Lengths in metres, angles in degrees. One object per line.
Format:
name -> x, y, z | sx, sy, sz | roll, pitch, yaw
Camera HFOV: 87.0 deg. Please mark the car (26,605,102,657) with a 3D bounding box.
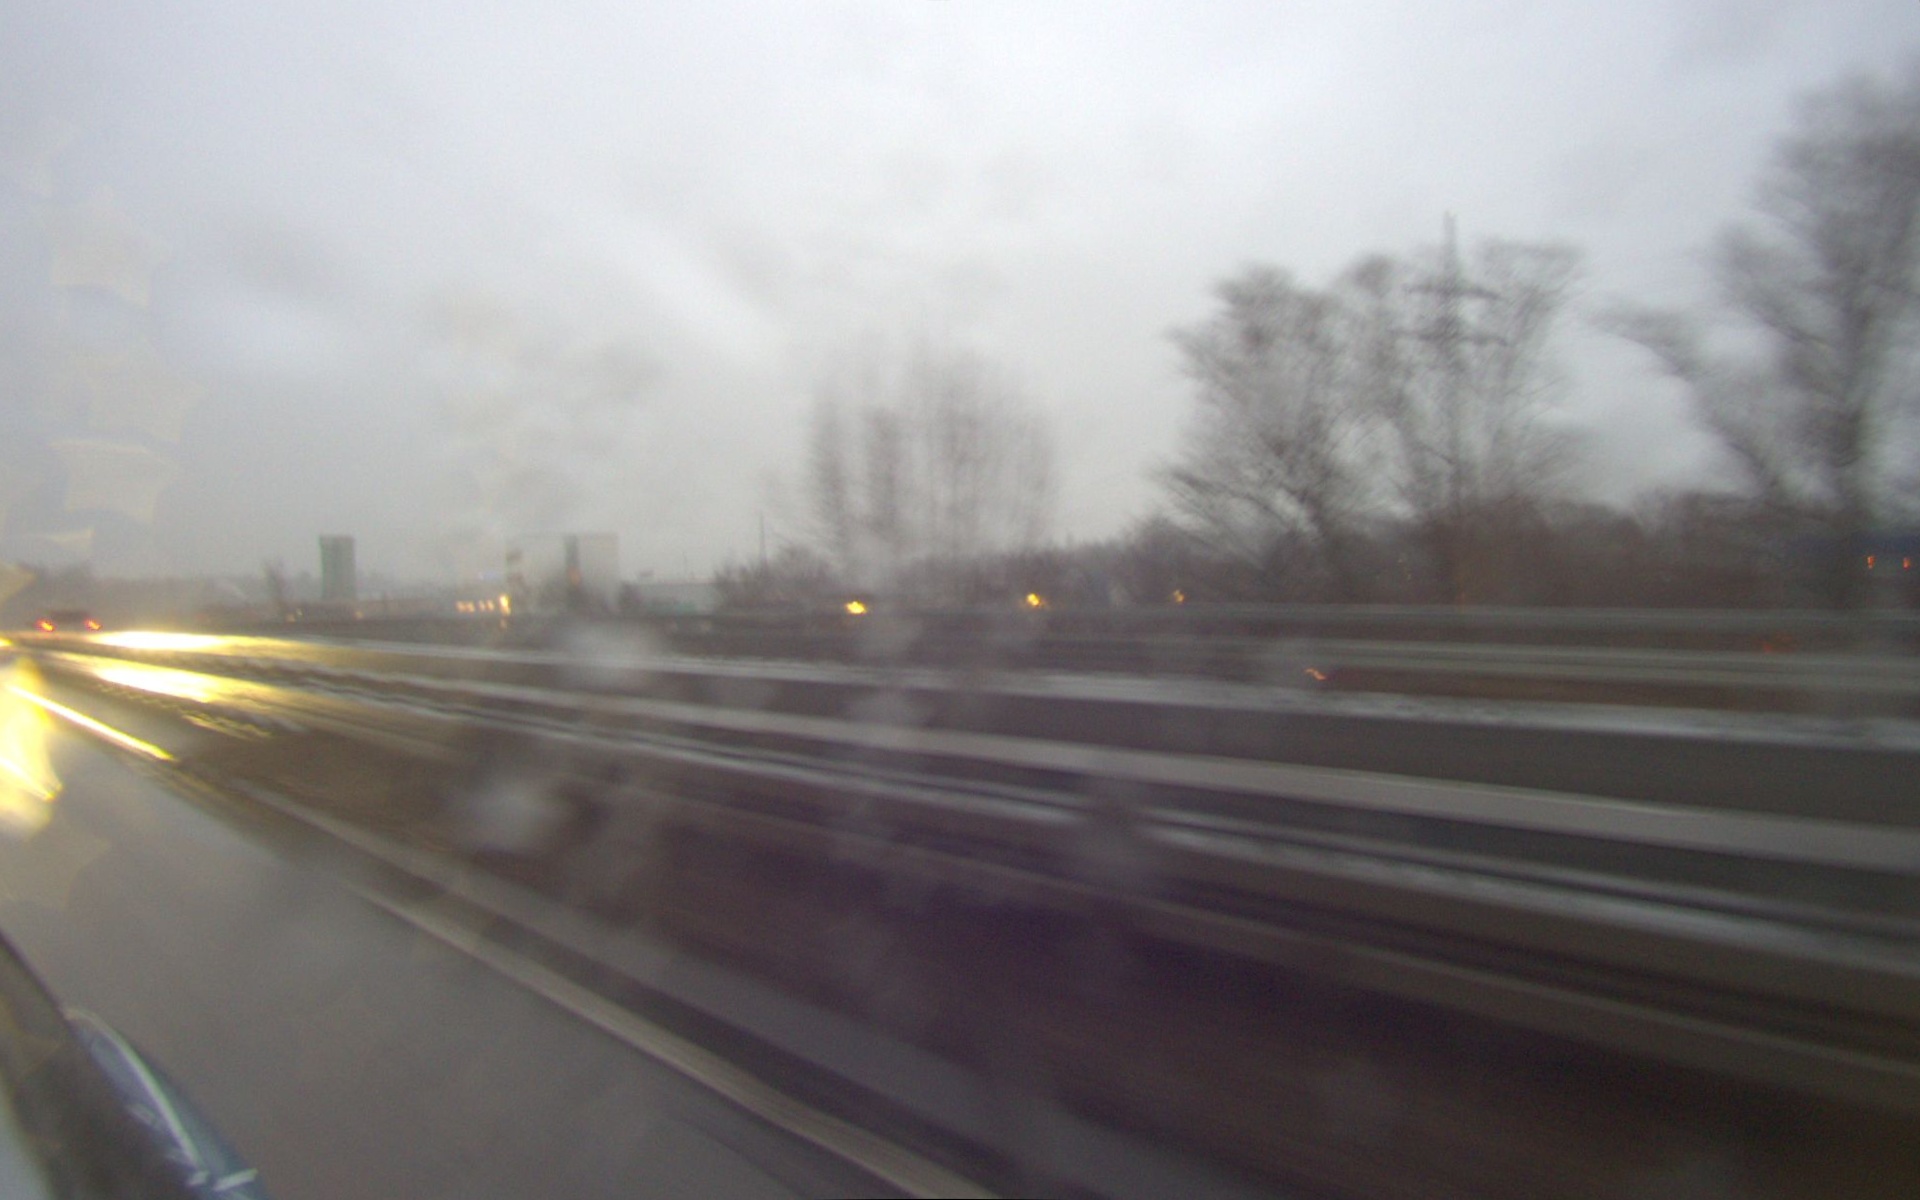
car -> -41.604, 1.371, 46.967 | 5.206, 2.280, 2.028 | -1, 0, 42
